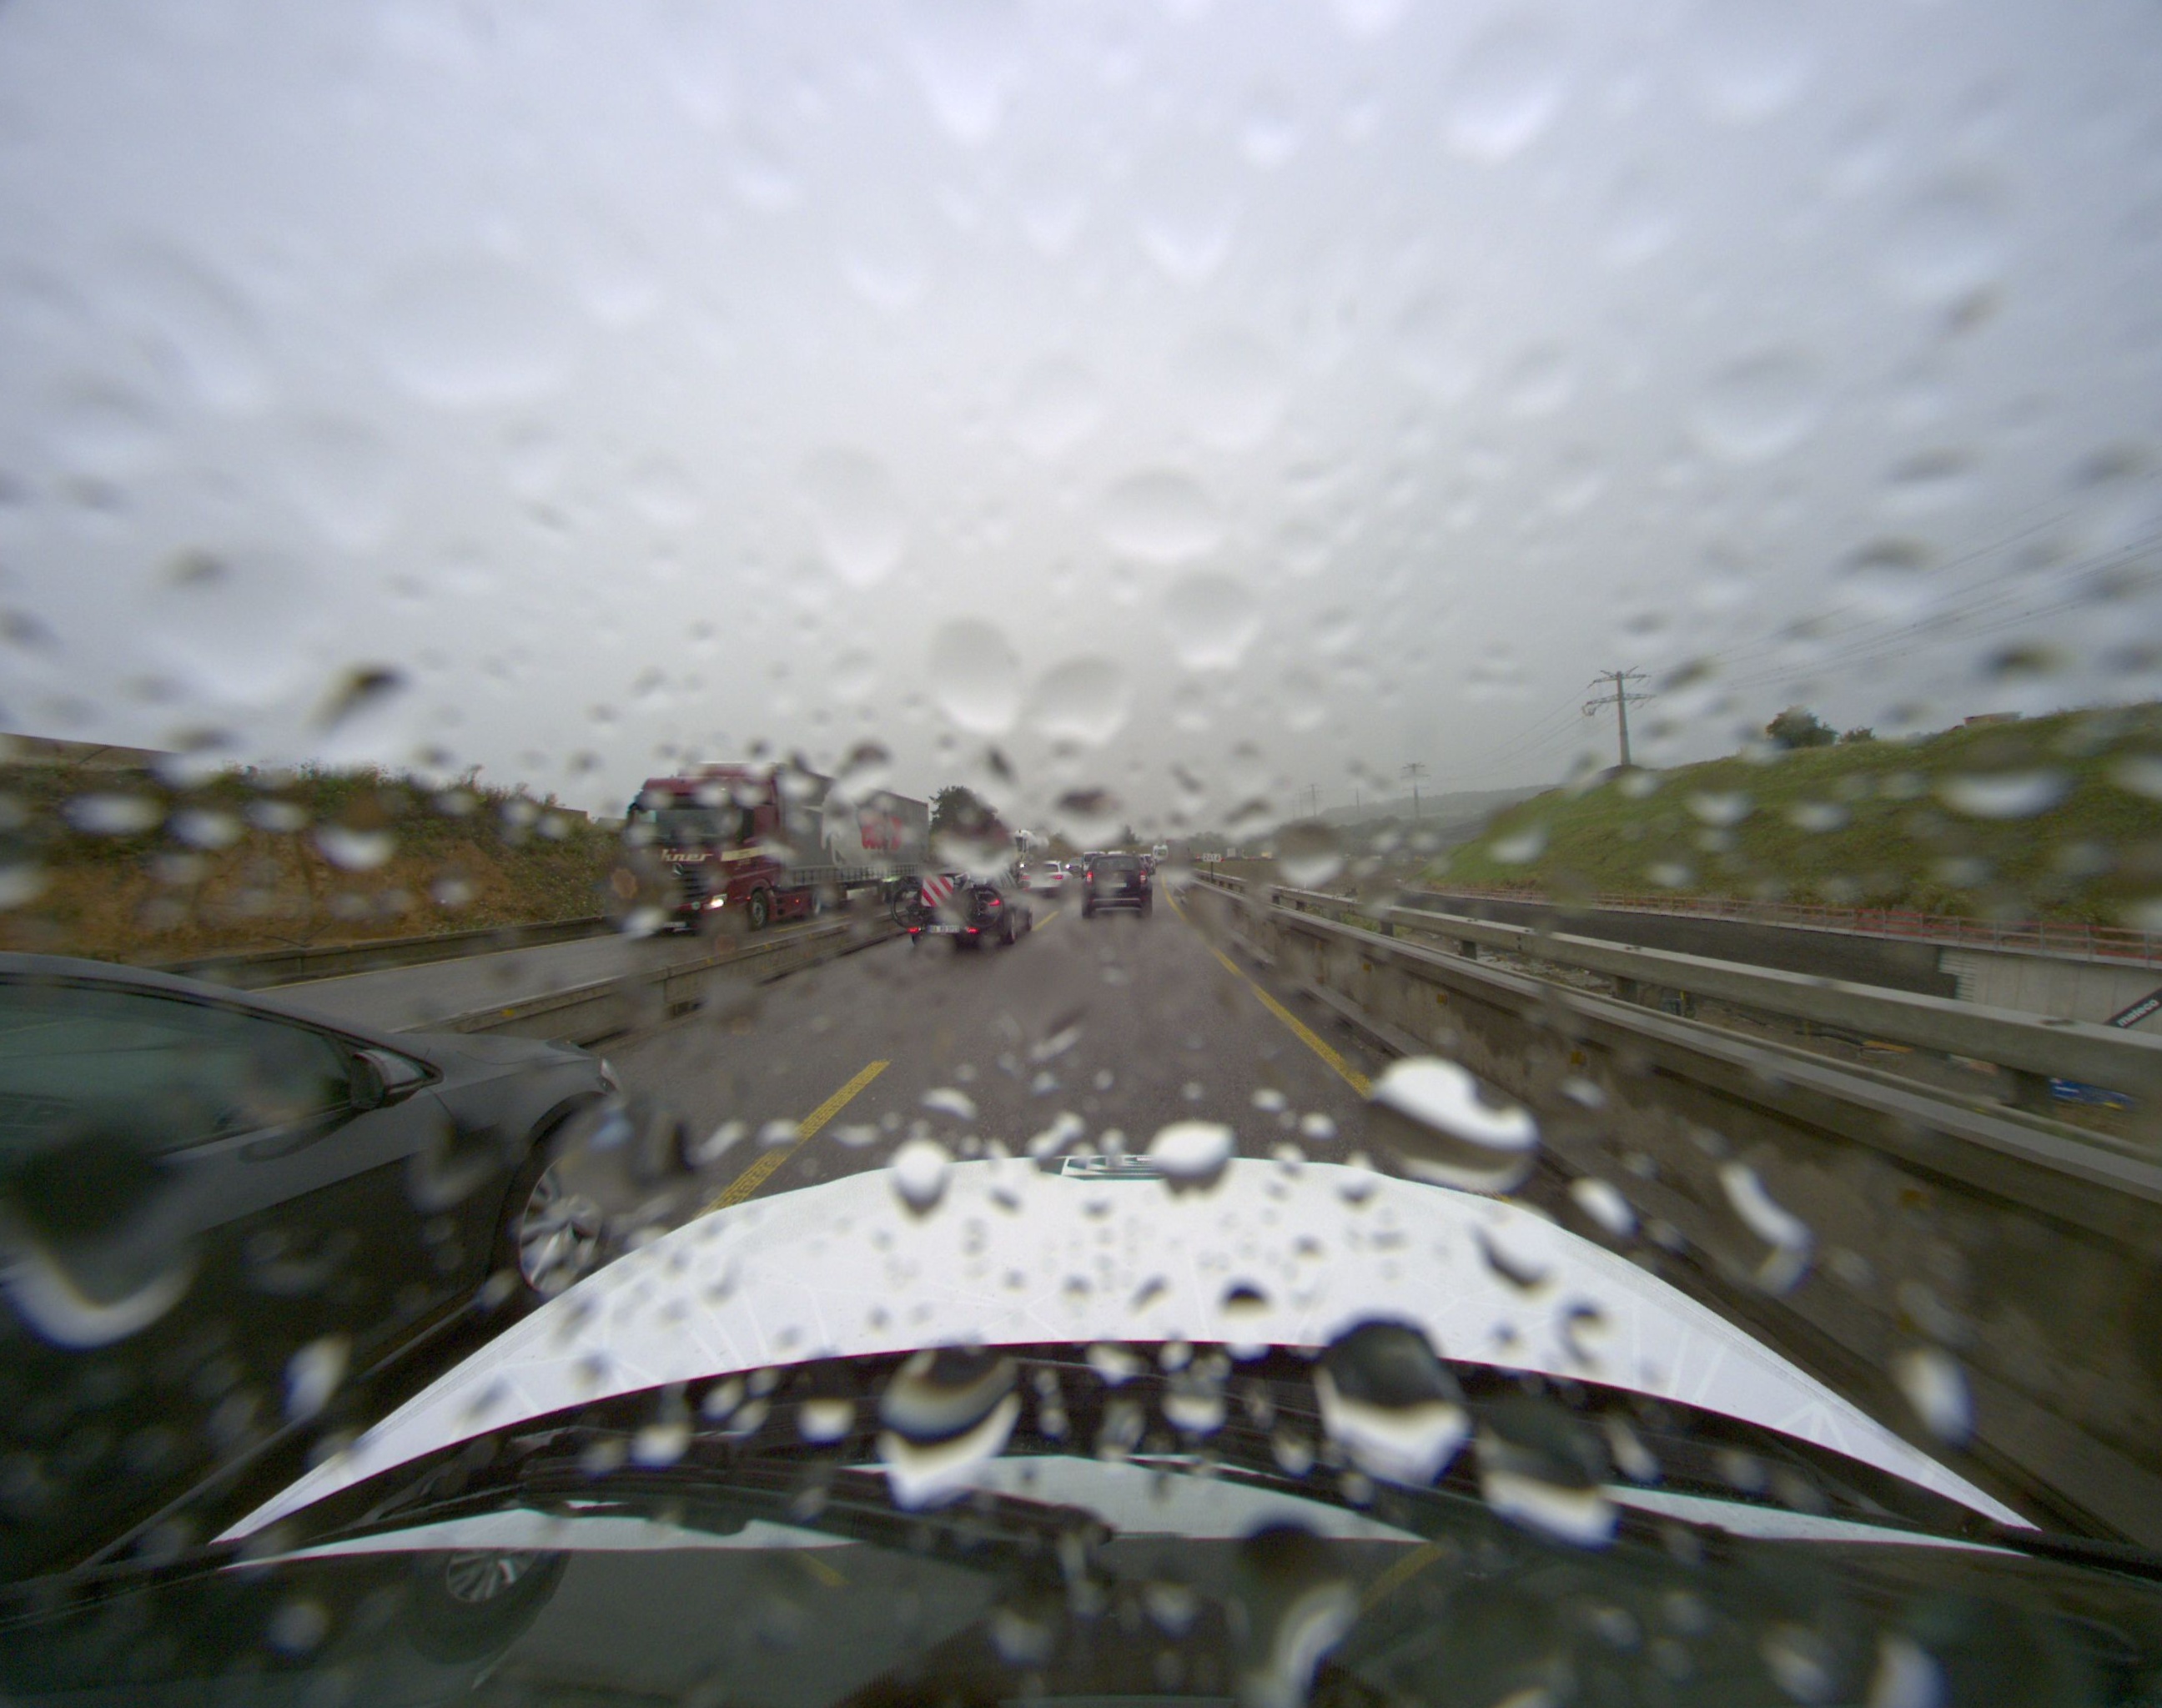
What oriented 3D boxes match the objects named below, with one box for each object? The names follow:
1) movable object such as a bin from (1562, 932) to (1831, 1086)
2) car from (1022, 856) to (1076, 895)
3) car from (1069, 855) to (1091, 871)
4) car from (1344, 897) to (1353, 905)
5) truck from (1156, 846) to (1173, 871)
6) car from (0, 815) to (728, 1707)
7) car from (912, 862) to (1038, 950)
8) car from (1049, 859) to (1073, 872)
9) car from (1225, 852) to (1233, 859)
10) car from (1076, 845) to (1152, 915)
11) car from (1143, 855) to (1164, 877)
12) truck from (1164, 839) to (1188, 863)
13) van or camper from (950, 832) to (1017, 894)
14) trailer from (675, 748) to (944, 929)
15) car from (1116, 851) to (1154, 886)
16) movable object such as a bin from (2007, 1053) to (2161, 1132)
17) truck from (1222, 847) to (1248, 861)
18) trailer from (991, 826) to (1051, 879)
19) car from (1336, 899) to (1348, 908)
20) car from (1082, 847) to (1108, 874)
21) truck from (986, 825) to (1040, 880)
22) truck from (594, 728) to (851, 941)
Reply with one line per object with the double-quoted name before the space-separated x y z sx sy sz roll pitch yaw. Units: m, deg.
"movable object such as a bin" 29.059 6.978 39.862 4.869 5.671 12.107 0 -3 6
"car" -1.231 0.818 32.943 1.861 1.460 4.550 -1 0 1
"car" -0.037 0.837 77.792 1.796 1.439 4.954 -3 -1 3
"car" 70.223 12.404 213.820 1.979 1.816 4.015 -2 -1 14
"truck" 10.988 0.538 107.590 2.139 3.166 6.469 -1 0 5
"car" -2.569 0.732 1.452 1.607 1.506 4.374 -3 -1 5
"car" -1.925 0.919 15.942 1.822 1.476 3.778 -2 -1 2
"car" -2.521 1.456 105.621 1.980 1.586 5.136 -1 0 12
"car" 38.947 0.427 214.161 1.762 1.916 4.016 -1 0 15
"car" 0.970 0.659 21.648 1.796 1.646 3.781 -2 -1 5
"car" 5.575 0.915 62.198 1.523 1.640 4.019 -1 0 5
"truck" 15.623 -0.431 133.719 3.180 3.761 8.535 -1 0 11
"van or camper" -4.328 0.388 37.094 2.271 2.614 5.828 -1 0 0
"trailer" -8.192 -0.429 28.392 2.982 4.421 15.717 -3 0 4
"car" 2.782 0.746 42.478 1.860 1.708 4.003 -1 0 3
"movable object such as a bin" 35.888 8.371 28.841 2.508 1.911 3.256 1 -1 0
"truck" 46.028 0.004 242.996 4.677 4.150 15.764 -1 0 21
"trailer" -4.826 -0.079 67.925 3.241 3.964 11.548 -2 -1 4
"car" 63.357 12.099 197.873 2.349 2.014 4.013 -1 0 12
"car" 1.028 0.456 57.543 1.653 1.880 4.022 -1 0 3
"truck" -5.152 -0.104 62.848 3.218 3.955 5.886 -2 -1 3
"truck" -8.667 -0.415 20.898 2.967 4.409 6.938 -3 0 3
